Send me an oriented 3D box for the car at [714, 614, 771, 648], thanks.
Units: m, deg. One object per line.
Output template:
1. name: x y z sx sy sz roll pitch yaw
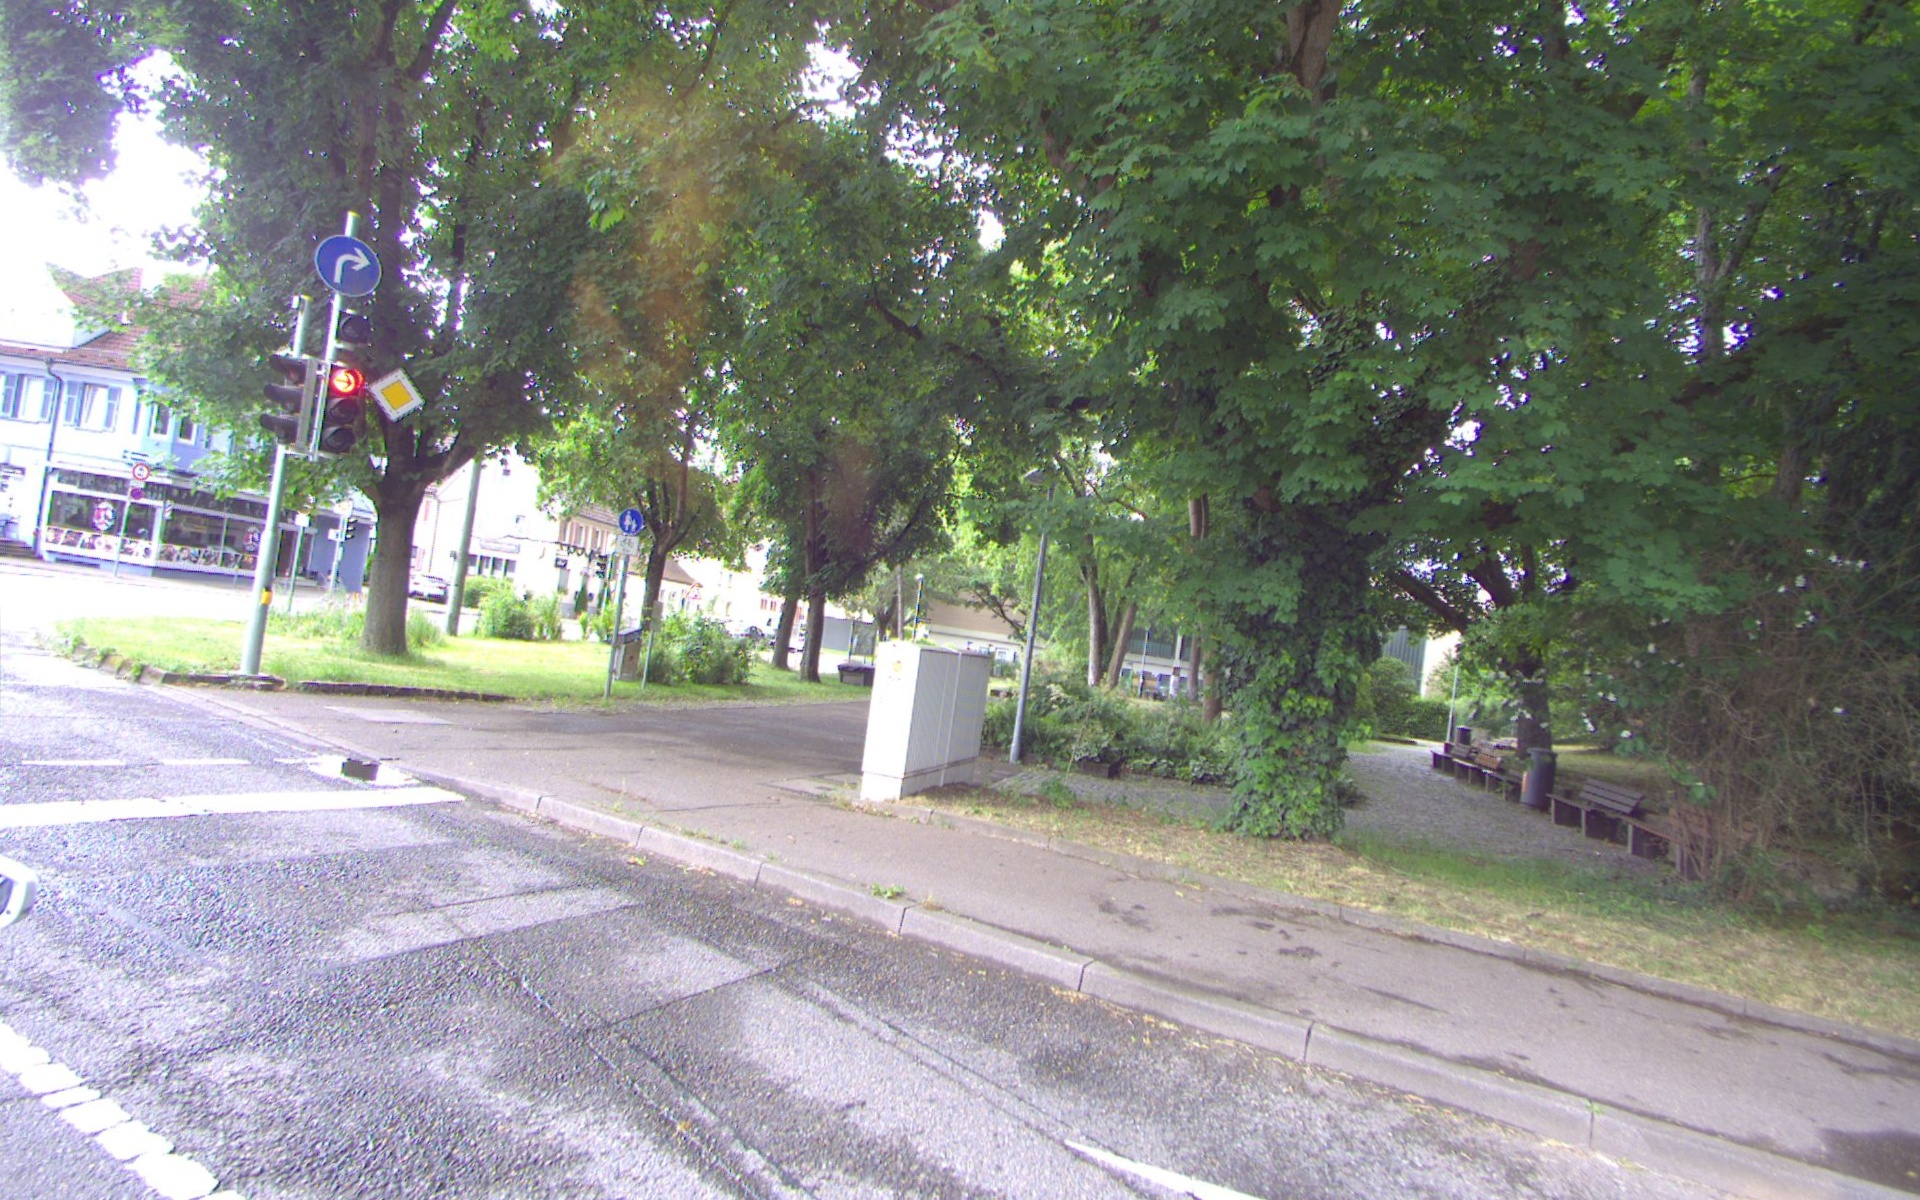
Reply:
1. car: -11.830 1.730 54.997 1.838 1.589 4.004 7 -2 4

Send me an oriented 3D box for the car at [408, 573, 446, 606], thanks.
1. car: -28.102 -0.558 53.091 1.554 1.478 3.417 9 -3 -27

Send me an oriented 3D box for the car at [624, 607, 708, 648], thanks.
1. car: -13.029 1.282 44.933 1.864 1.472 4.553 7 -3 6

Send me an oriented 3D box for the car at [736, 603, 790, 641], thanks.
1. car: -15.526 1.793 79.645 2.292 2.418 5.967 7 -2 6

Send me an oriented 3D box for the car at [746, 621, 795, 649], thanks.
1. car: -11.308 2.117 60.156 1.706 1.406 3.746 7 -2 6

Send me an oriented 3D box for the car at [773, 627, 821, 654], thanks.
1. car: -10.739 2.701 66.480 1.888 1.472 4.408 7 -3 6

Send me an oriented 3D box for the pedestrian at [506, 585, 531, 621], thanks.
1. pedestrian: -22.381 0.166 51.042 0.743 1.716 0.647 7 -1 3
